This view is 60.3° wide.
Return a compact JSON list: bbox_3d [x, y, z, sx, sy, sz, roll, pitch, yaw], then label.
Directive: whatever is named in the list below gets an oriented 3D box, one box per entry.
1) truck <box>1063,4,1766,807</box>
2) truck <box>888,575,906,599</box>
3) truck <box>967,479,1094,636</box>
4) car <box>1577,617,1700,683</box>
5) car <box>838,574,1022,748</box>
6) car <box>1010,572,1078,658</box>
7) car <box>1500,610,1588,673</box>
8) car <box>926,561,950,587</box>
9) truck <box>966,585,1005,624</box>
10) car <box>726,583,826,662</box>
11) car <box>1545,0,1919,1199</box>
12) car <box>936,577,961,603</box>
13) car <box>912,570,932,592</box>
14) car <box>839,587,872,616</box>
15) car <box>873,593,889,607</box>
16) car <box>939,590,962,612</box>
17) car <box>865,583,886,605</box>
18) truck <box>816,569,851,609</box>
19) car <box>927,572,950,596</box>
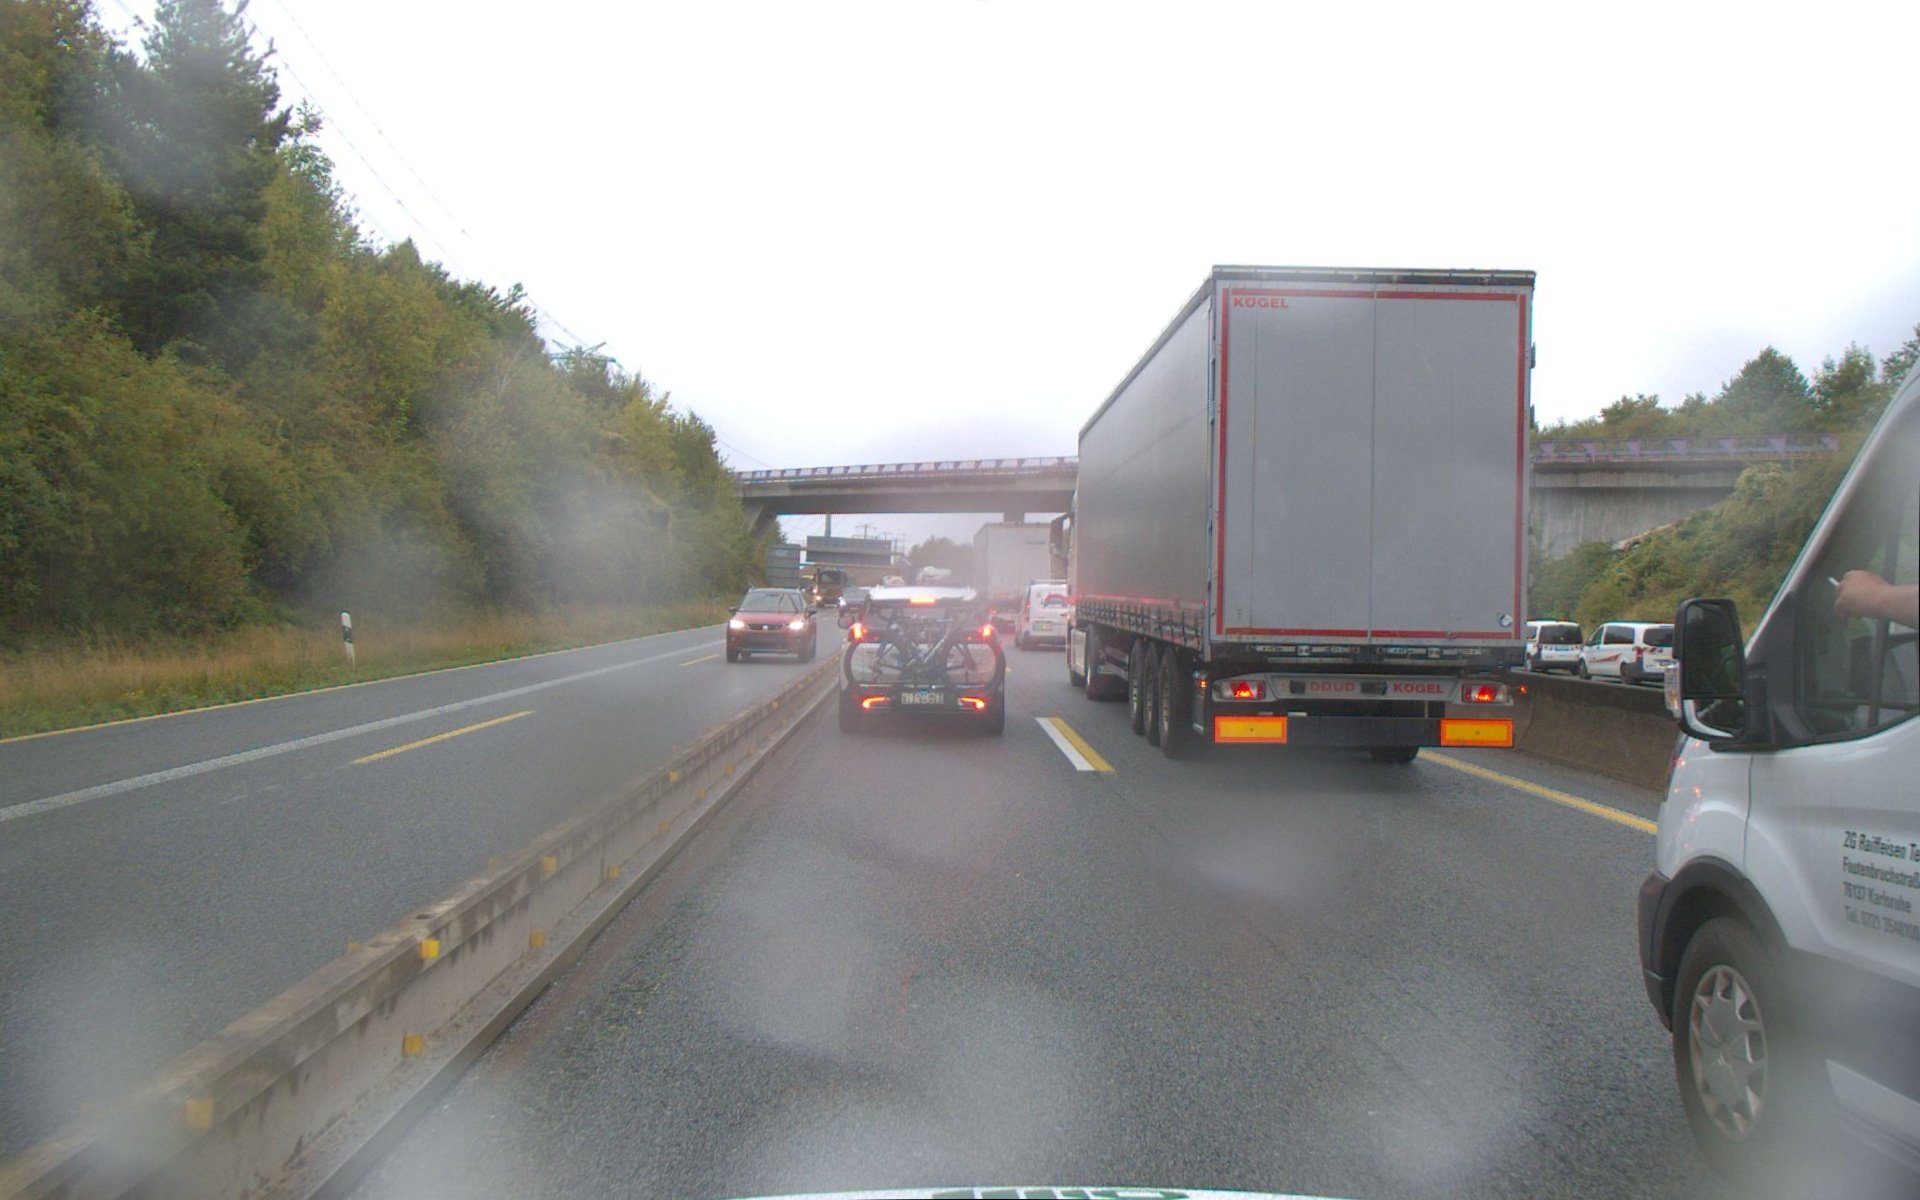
[{"bbox_3d":[3.936,-1.385,22.183,3.898,5.772,20.375,1,0,0],"label":"truck"},{"bbox_3d":[-9.282,-1.920,245.586,2.484,3.411,12.045,1,0,-2],"label":"truck"},{"bbox_3d":[2.679,-1.553,71.466,4.645,5.772,20.375,1,0,0],"label":"truck"},{"bbox_3d":[20.713,1.484,50.683,1.902,1.861,4.727,1,0,1],"label":"car"},{"bbox_3d":[-0.276,0.602,18.417,1.773,1.666,4.635,1,0,0],"label":"car"},{"bbox_3d":[2.274,0.402,45.731,1.635,2.218,4.534,1,0,0],"label":"car"},{"bbox_3d":[20.510,1.419,58.261,1.693,2.094,4.124,1,0,1],"label":"car"},{"bbox_3d":[-2.127,-2.492,158.727,2.193,2.347,4.571,1,0,-1],"label":"car"},{"bbox_3d":[1.340,0.248,89.252,1.953,2.049,3.999,1,0,-1],"label":"truck"},{"bbox_3d":[-3.902,0.467,35.636,1.758,1.583,3.999,1,0,-1],"label":"car"},{"bbox_3d":[3.003,0.074,2.486,2.100,2.723,6.117,1,0,0],"label":"car"},{"bbox_3d":[-0.946,-0.813,132.832,1.953,2.049,3.999,1,0,-1],"label":"car"},{"bbox_3d":[-3.932,-1.961,171.513,1.953,2.164,4.526,1,0,-1],"label":"car"},{"bbox_3d":[-6.177,0.102,98.096,1.773,1.661,4.116,1,0,-2],"label":"car"},{"bbox_3d":[-8.319,-0.041,174.997,1.652,1.434,3.928,1,0,-3],"label":"car"},{"bbox_3d":[-0.692,0.106,118.594,1.605,1.524,3.665,1,0,-1],"label":"car"},{"bbox_3d":[-7.500,-0.504,147.402,1.774,1.856,4.633,1,0,-2],"label":"car"},{"bbox_3d":[-11.295,-0.942,148.572,2.484,3.411,12.045,1,0,-2],"label":"truck"},{"bbox_3d":[-1.911,-1.374,145.876,1.953,2.049,3.999,1,0,-1],"label":"car"}]
